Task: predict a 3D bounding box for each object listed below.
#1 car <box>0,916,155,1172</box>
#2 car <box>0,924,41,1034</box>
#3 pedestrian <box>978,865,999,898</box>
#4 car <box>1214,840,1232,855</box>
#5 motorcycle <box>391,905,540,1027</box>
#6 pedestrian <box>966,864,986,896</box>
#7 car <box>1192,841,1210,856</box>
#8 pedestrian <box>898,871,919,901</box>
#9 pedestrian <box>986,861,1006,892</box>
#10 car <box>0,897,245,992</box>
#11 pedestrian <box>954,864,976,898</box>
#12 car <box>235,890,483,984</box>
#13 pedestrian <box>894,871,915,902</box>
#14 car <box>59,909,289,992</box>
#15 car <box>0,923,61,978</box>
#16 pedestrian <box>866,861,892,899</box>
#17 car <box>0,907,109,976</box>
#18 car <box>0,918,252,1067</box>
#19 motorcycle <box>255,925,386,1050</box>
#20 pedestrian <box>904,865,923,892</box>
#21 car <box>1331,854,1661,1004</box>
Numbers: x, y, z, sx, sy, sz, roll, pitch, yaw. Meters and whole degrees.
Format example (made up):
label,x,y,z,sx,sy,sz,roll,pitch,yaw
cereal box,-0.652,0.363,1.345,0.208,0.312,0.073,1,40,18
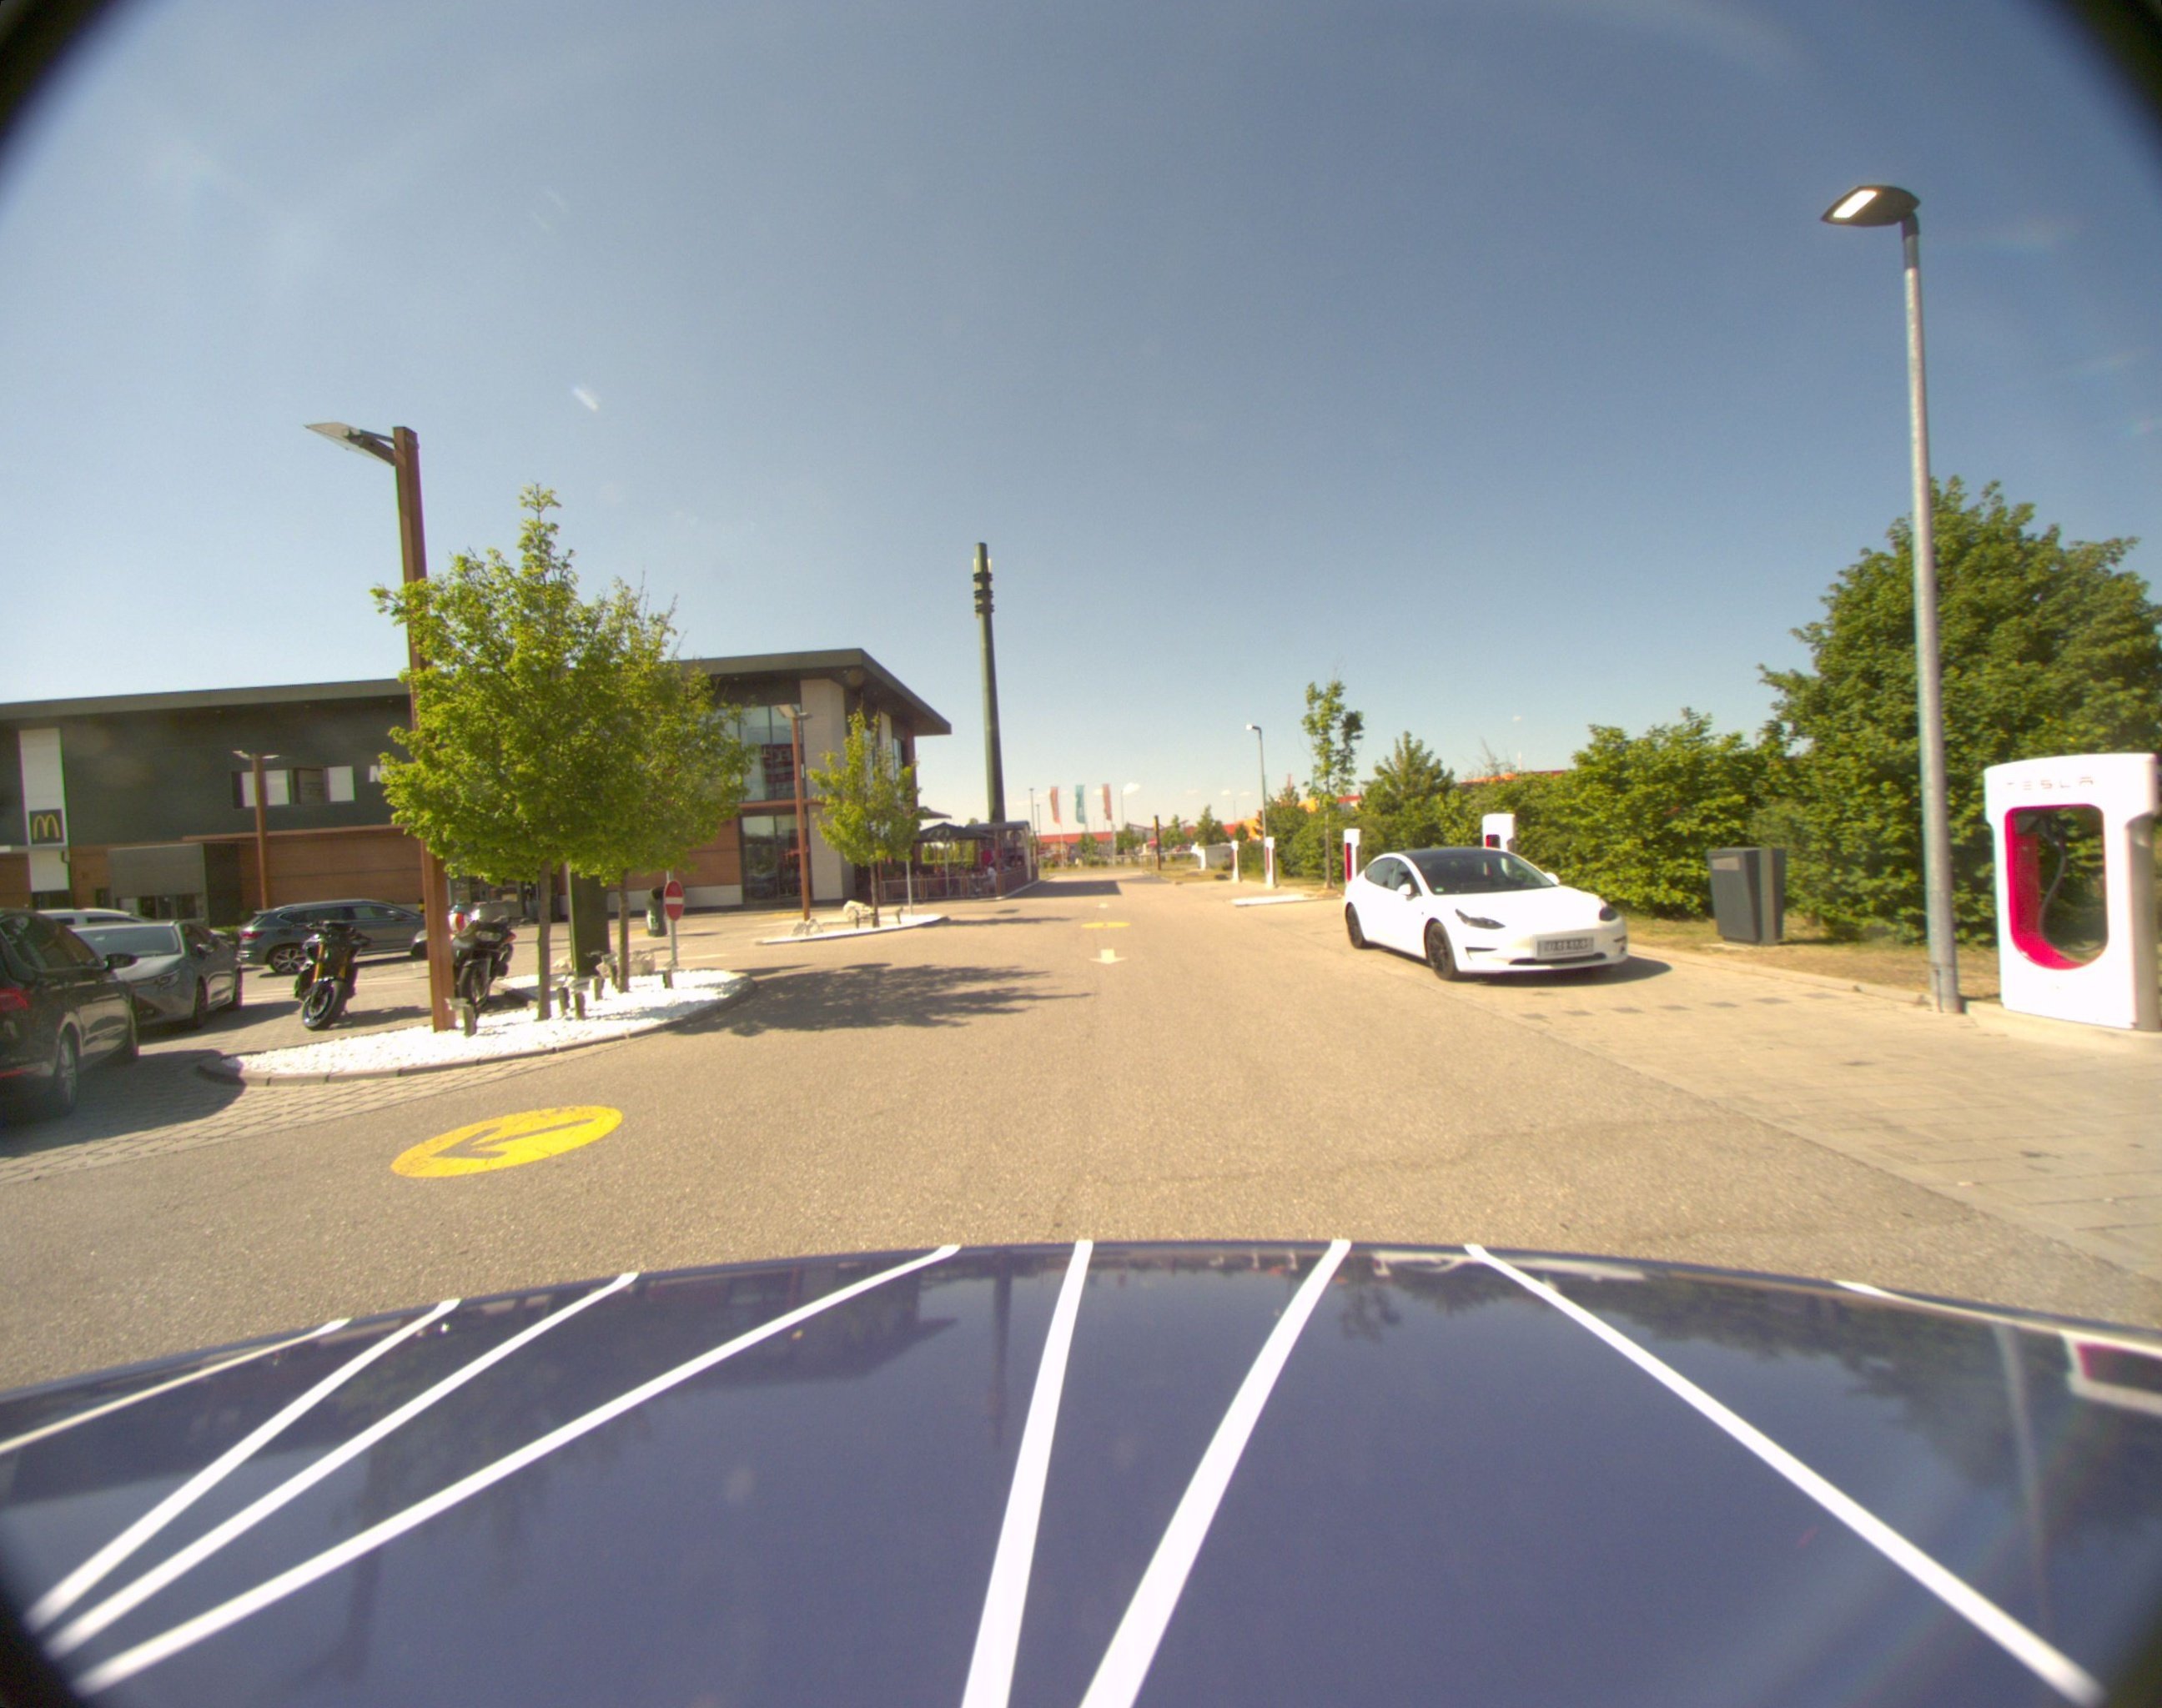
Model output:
label,x,y,z,sx,sy,sz,roll,pitch,yaw
car,-8.924,1.365,5.725,1.899,1.528,4.180,-3,0,-44
car,-16.331,1.892,10.183,1.815,1.584,3.990,-4,0,-40
pedestrian,-3.657,1.071,30.042,0.729,1.250,0.573,-4,1,-4
car,21.188,-0.956,113.439,1.998,2.002,4.000,-3,0,1
motorcycle,-7.812,1.352,9.598,2.246,1.243,1.073,-5,0,43
pedestrian,-4.361,1.076,31.664,0.715,1.250,0.524,-4,1,-3
car,17.813,-0.792,113.103,1.998,2.002,4.000,-3,0,1
pedestrian,-6.848,1.272,30.144,0.634,1.117,0.524,-4,1,-3
pedestrian,-3.550,0.933,31.818,0.729,1.250,0.573,-4,1,-4
car,-24.822,2.251,19.675,1.753,1.910,4.153,-3,0,41
pedestrian,-4.520,1.059,29.722,0.715,1.250,0.524,-4,1,-3
car,-17.917,1.953,19.093,4.234,1.594,1.785,-6,4,-45
pedestrian,-6.868,1.254,29.537,0.634,1.117,0.524,-4,1,-3
car,-21.906,2.255,18.541,1.564,1.473,3.421,-3,1,41
car,-31.611,2.860,21.037,1.671,1.435,3.778,-3,1,30
pedestrian,-8.808,1.117,33.171,0.740,1.574,0.729,-4,1,11
car,-28.542,2.359,19.758,1.753,1.622,3.851,-3,0,35
car,-12.696,1.659,10.020,1.839,1.438,4.651,-4,-1,-42
motorcycle,-9.016,1.497,8.975,2.136,1.224,0.822,-4,0,39
pedestrian,-7.291,1.056,33.089,0.573,1.094,0.656,-4,1,0
car,4.824,0.739,9.720,1.821,1.369,4.449,-3,0,1
